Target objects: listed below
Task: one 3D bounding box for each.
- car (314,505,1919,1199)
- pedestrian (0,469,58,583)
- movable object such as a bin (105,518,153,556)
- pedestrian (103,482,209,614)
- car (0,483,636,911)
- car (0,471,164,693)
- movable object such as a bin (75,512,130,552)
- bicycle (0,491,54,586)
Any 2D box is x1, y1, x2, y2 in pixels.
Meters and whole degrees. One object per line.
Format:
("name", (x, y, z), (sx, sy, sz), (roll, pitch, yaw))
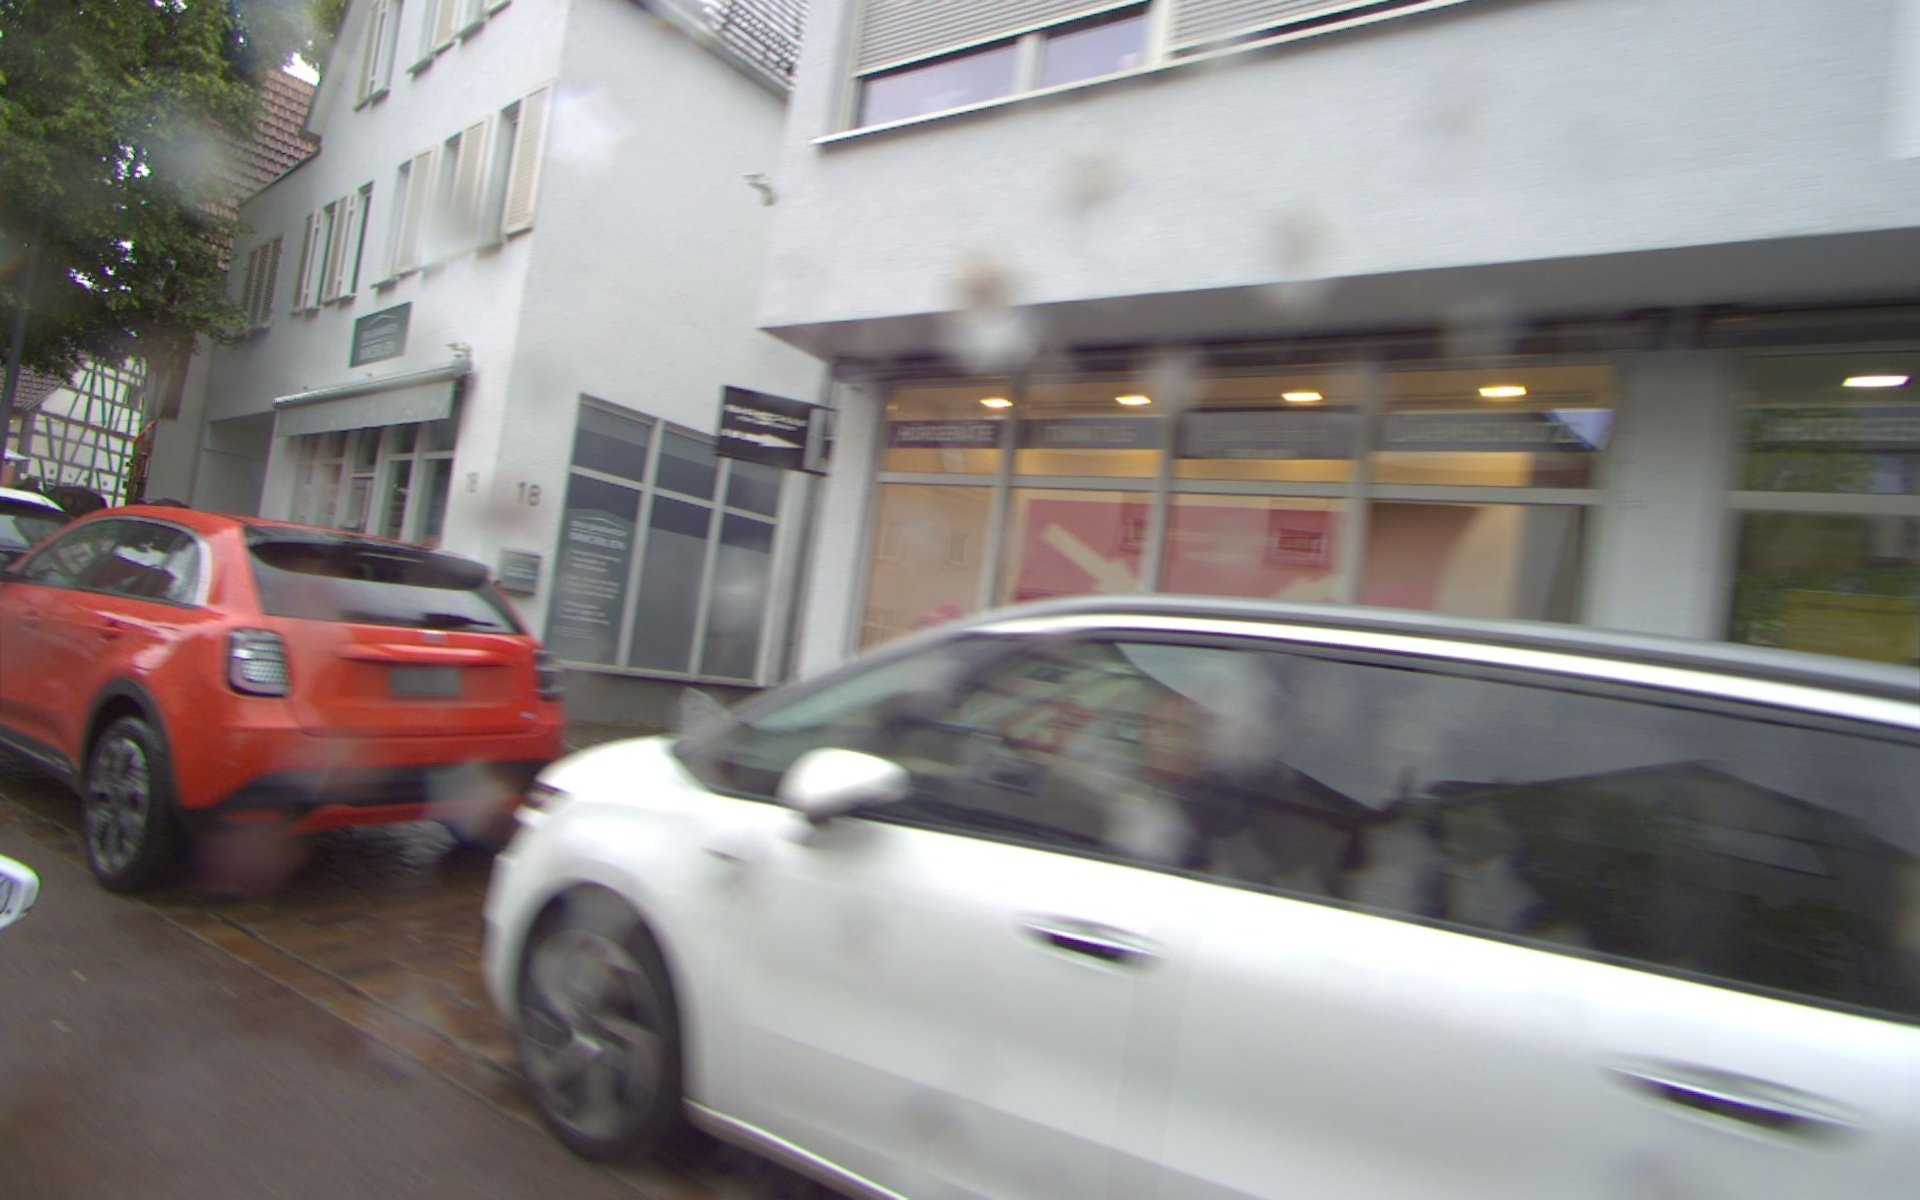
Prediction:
("car", (0.520, 0.800, 2.758), (4.363, 1.616, 1.794), (5, -4, 28))
("pedestrian", (-15.300, -1.199, 16.244), (0.908, 1.718, 0.851), (8, -2, -44))
("movable object such as a bin", (-26.739, -2.028, 32.382), (0.842, 1.037, 0.698), (7, -3, -4))
("pedestrian", (-11.685, -0.741, 14.628), (0.878, 1.731, 0.884), (4, -4, 42))
("car", (-3.822, 0.326, 5.314), (3.885, 1.484, 1.792), (5, -5, 32))
("car", (-8.584, -0.329, 8.283), (3.883, 1.573, 1.792), (7, -2, 31))
("movable object such as a bin", (-26.710, -2.112, 31.342), (0.842, 1.033, 0.831), (7, -3, -4))
("bicycle", (-15.328, -1.028, 16.215), (0.922, 1.366, 2.189), (8, -2, -43))
